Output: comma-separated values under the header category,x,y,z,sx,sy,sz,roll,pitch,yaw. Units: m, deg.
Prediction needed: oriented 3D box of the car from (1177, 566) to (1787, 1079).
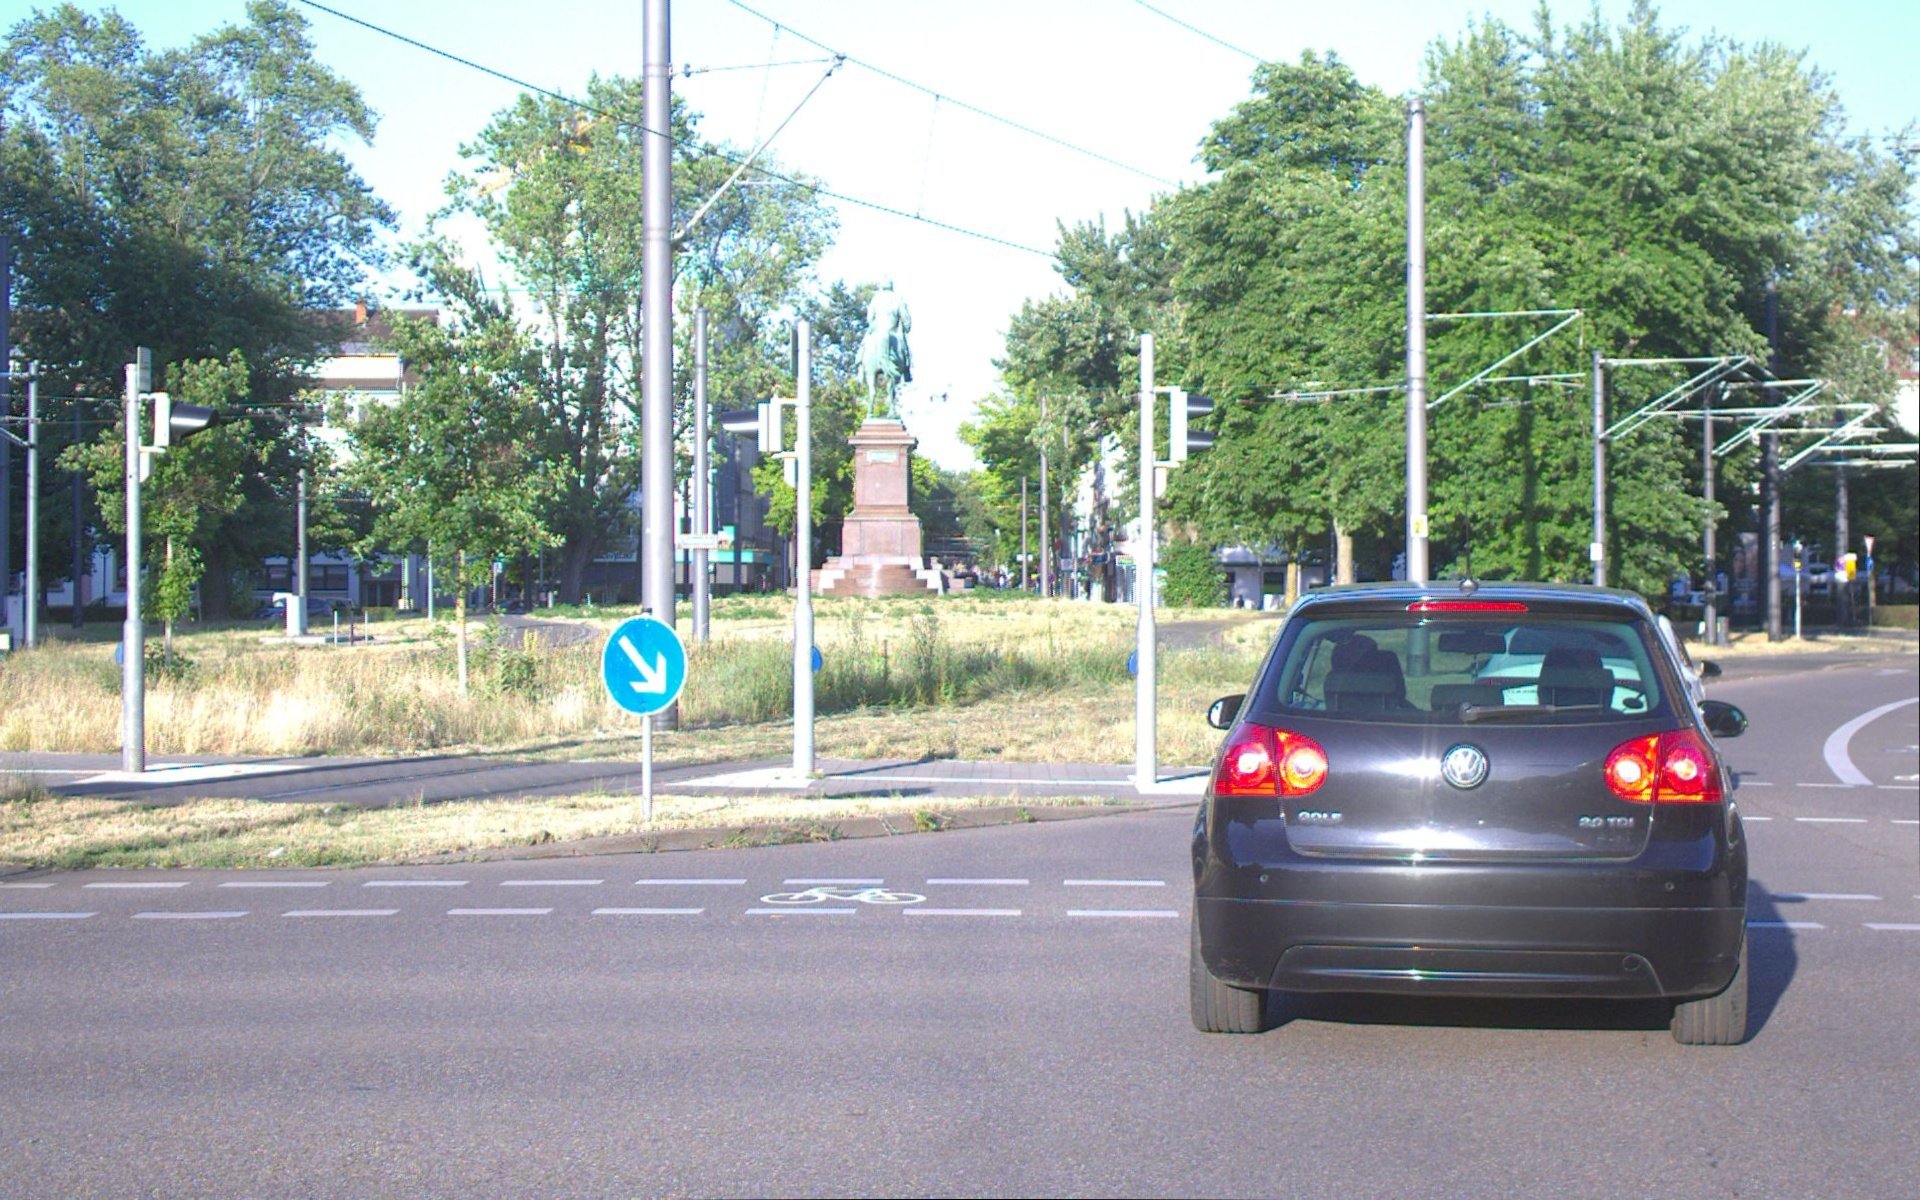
category,x,y,z,sx,sy,sz,roll,pitch,yaw
car,1.894,0.627,12.076,1.748,1.456,4.101,1,0,11

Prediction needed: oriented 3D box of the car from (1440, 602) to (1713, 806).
category,x,y,z,sx,sy,sz,roll,pitch,yaw
car,4.936,0.751,27.117,1.866,1.436,4.194,0,0,14
